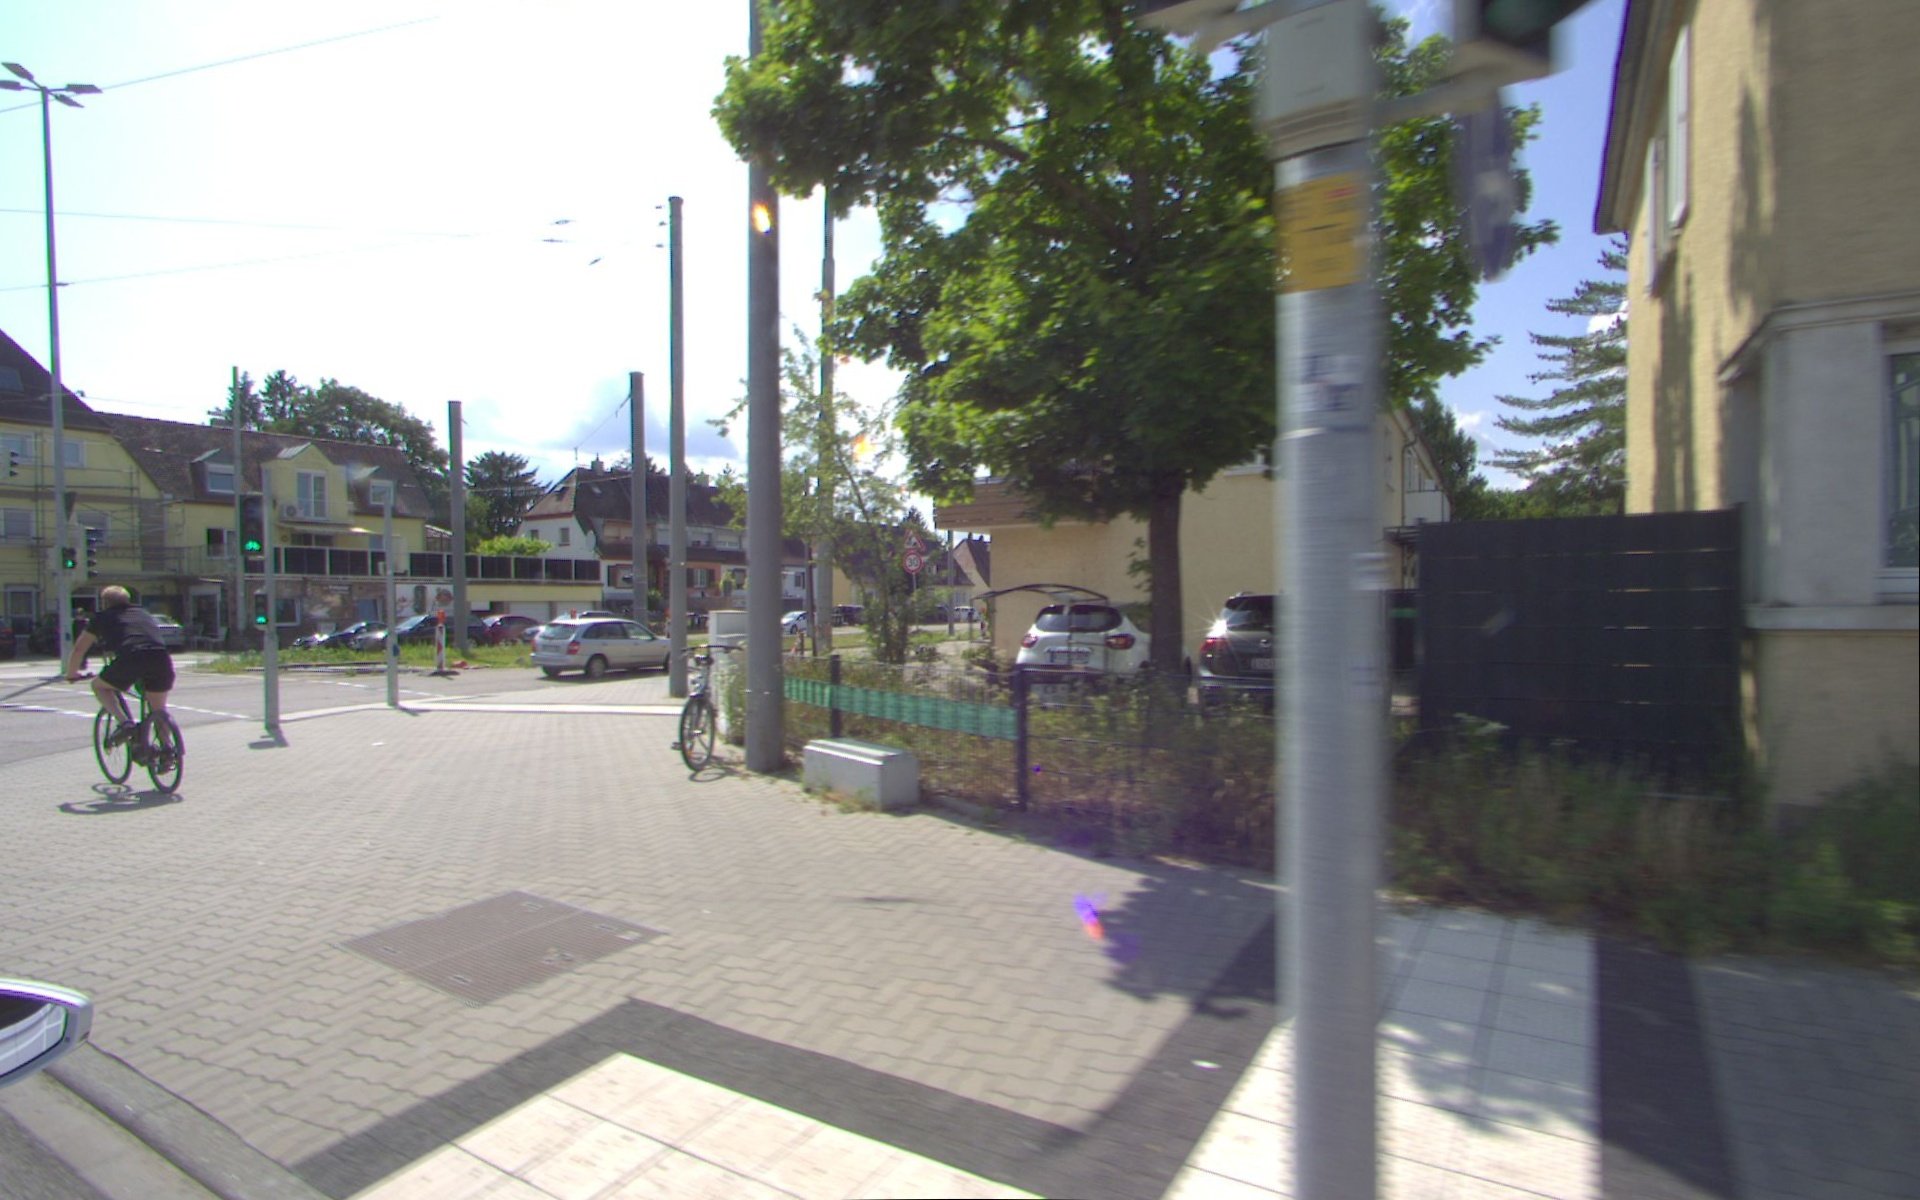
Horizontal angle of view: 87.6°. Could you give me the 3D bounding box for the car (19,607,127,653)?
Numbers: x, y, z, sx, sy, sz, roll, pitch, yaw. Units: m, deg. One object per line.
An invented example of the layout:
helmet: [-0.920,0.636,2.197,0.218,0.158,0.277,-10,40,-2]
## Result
car: [-33.110,1.141,37.372,4.073,1.616,1.990,-2,-2,33]

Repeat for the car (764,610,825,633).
car: [-11.049,1.459,67.146,1.713,1.492,4.312,-1,-2,29]

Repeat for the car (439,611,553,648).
car: [-19.962,1.294,43.299,1.713,1.492,4.312,-1,-2,29]

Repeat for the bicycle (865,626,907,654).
bicycle: [-2.189,1.182,29.840,0.497,0.791,1.578,-1,0,27]

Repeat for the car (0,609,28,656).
car: [-34.293,1.137,34.685,4.073,1.616,1.990,-2,-2,33]

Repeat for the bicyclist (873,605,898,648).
bicyclist: [-2.211,0.794,29.809,0.501,1.250,0.576,-1,0,28]

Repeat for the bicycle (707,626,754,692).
bicycle: [-4.160,1.050,18.222,0.374,1.152,1.575,0,-2,4]

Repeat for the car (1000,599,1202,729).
car: [2.207,0.819,14.674,1.771,1.617,4.105,0,-1,26]

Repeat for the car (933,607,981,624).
car: [-0.287,1.536,98.446,4.258,1.492,1.948,-1,-2,24]

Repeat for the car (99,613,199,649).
car: [-31.966,1.242,39.448,4.073,1.368,1.864,-2,-2,33]

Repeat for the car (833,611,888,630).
car: [-8.276,1.710,83.037,4.259,1.492,1.735,-1,-2,25]

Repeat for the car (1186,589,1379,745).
car: [4.206,0.719,12.641,1.771,1.617,4.105,0,-1,26]

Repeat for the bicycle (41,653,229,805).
bicycle: [-7.258,1.060,8.783,1.946,1.090,0.825,0,2,37]

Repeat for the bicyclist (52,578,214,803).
bicyclist: [-7.210,0.731,8.736,1.070,1.818,0.825,0,2,38]

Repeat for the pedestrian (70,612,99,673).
pedestrian: [-24.460,1.189,27.974,0.396,1.664,0.545,-1,-1,37]

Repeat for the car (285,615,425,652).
car: [-22.926,1.266,38.108,1.713,1.325,4.312,-1,-2,29]

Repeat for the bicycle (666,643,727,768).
bicycle: [-2.465,0.923,9.285,0.455,1.031,1.753,0,-2,-18]

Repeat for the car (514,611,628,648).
car: [-16.088,1.185,41.633,1.713,1.346,4.309,-1,0,29]

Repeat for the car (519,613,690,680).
car: [-8.822,1.105,25.207,1.707,1.422,4.002,3,1,25]

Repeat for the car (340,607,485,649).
car: [-19.508,0.975,35.887,1.713,1.346,4.309,-1,0,29]

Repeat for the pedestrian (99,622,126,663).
pedestrian: [-24.120,1.202,28.501,0.383,1.150,0.487,-1,-1,32]
